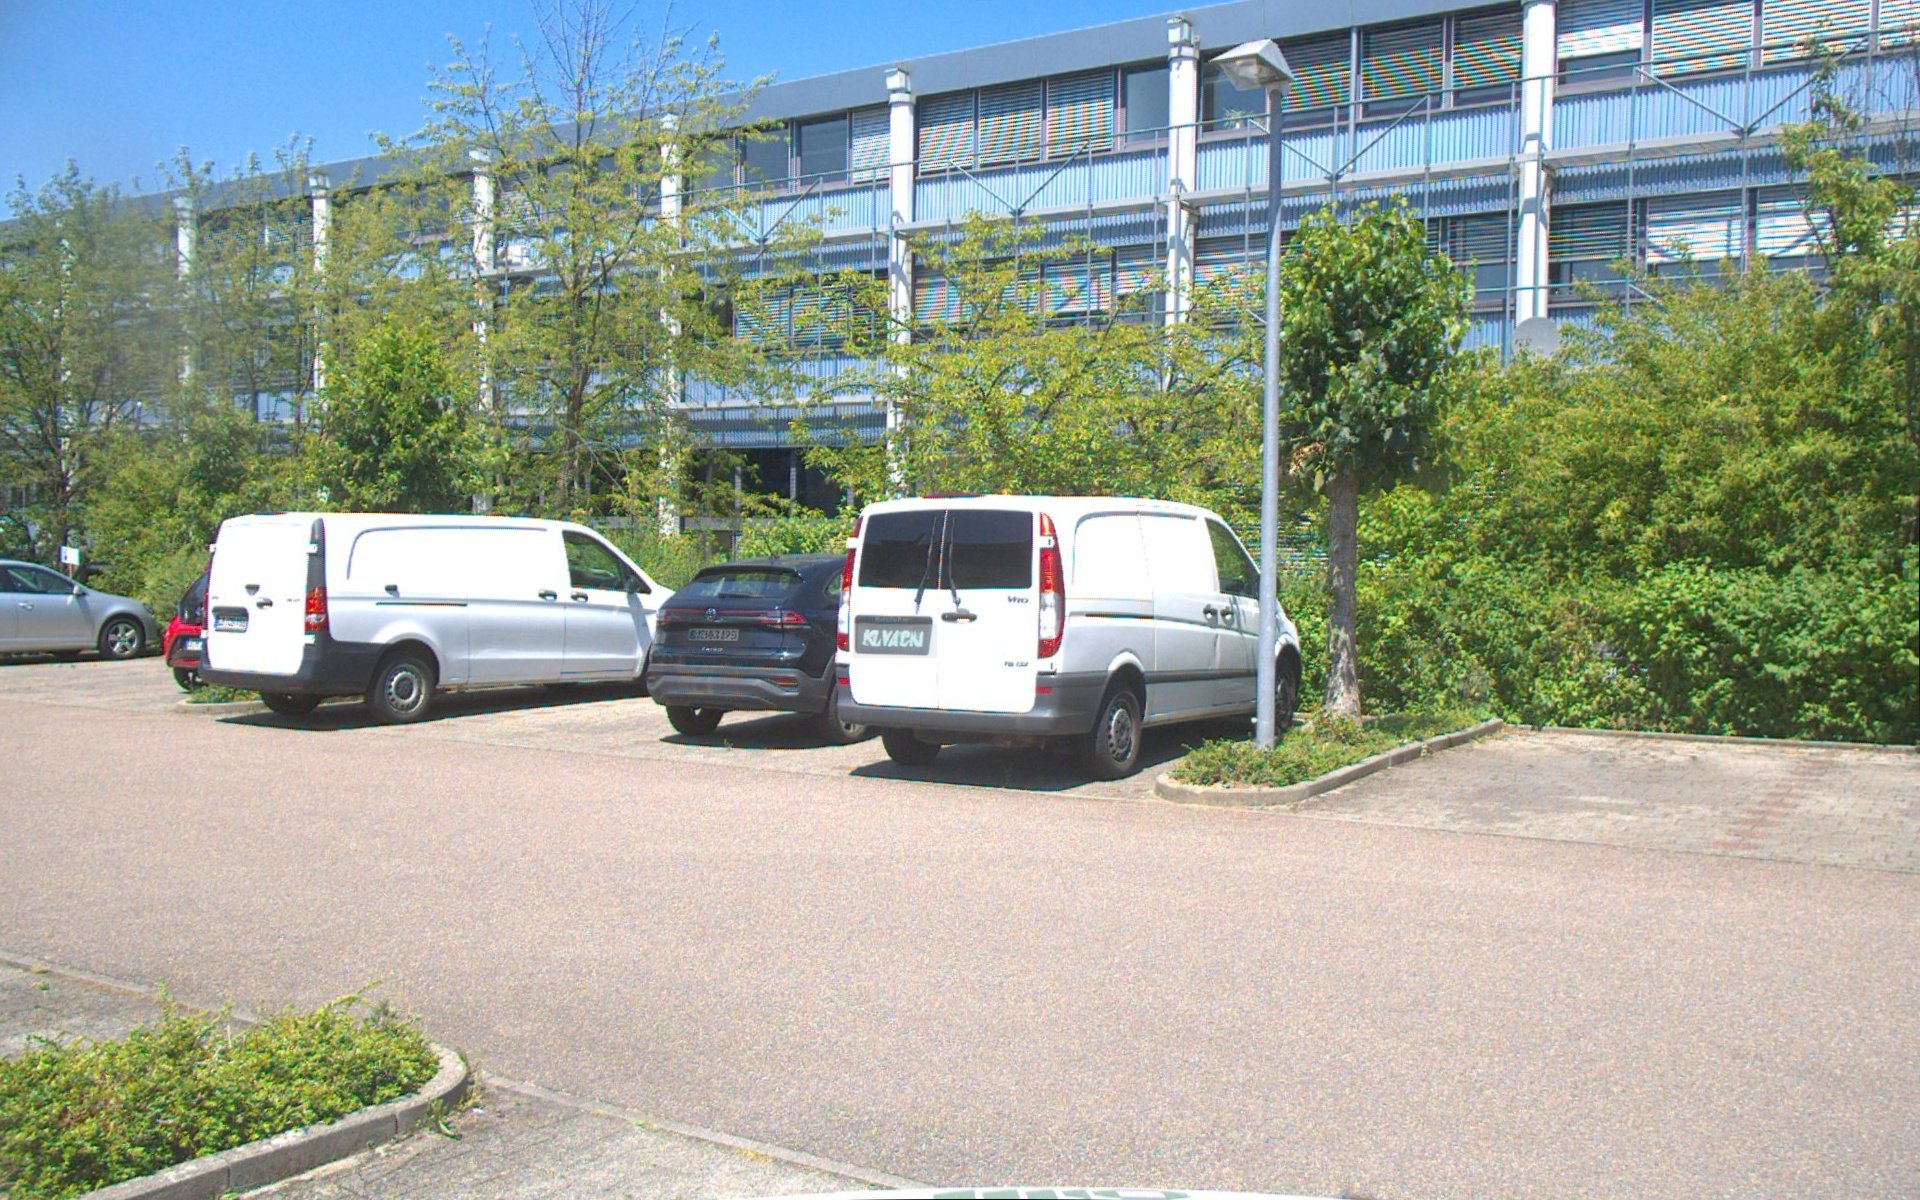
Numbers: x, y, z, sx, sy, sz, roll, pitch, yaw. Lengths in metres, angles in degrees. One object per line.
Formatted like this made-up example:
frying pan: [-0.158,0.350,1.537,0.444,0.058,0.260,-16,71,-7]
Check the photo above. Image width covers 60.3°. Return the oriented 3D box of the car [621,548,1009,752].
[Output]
car: [-1.105,0.315,14.645,1.719,1.502,3.999,0,2,23]

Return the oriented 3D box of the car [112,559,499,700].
car: [-7.639,0.257,19.639,1.752,1.466,3.986,1,2,35]

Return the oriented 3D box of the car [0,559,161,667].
car: [-13.650,0.169,23.080,1.835,1.430,4.156,1,2,35]

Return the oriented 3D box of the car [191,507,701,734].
car: [-4.913,0.077,16.549,1.849,1.924,4.789,1,3,34]

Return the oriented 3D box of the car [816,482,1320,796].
car: [1.074,0.151,12.757,1.878,1.938,4.798,0,2,31]
